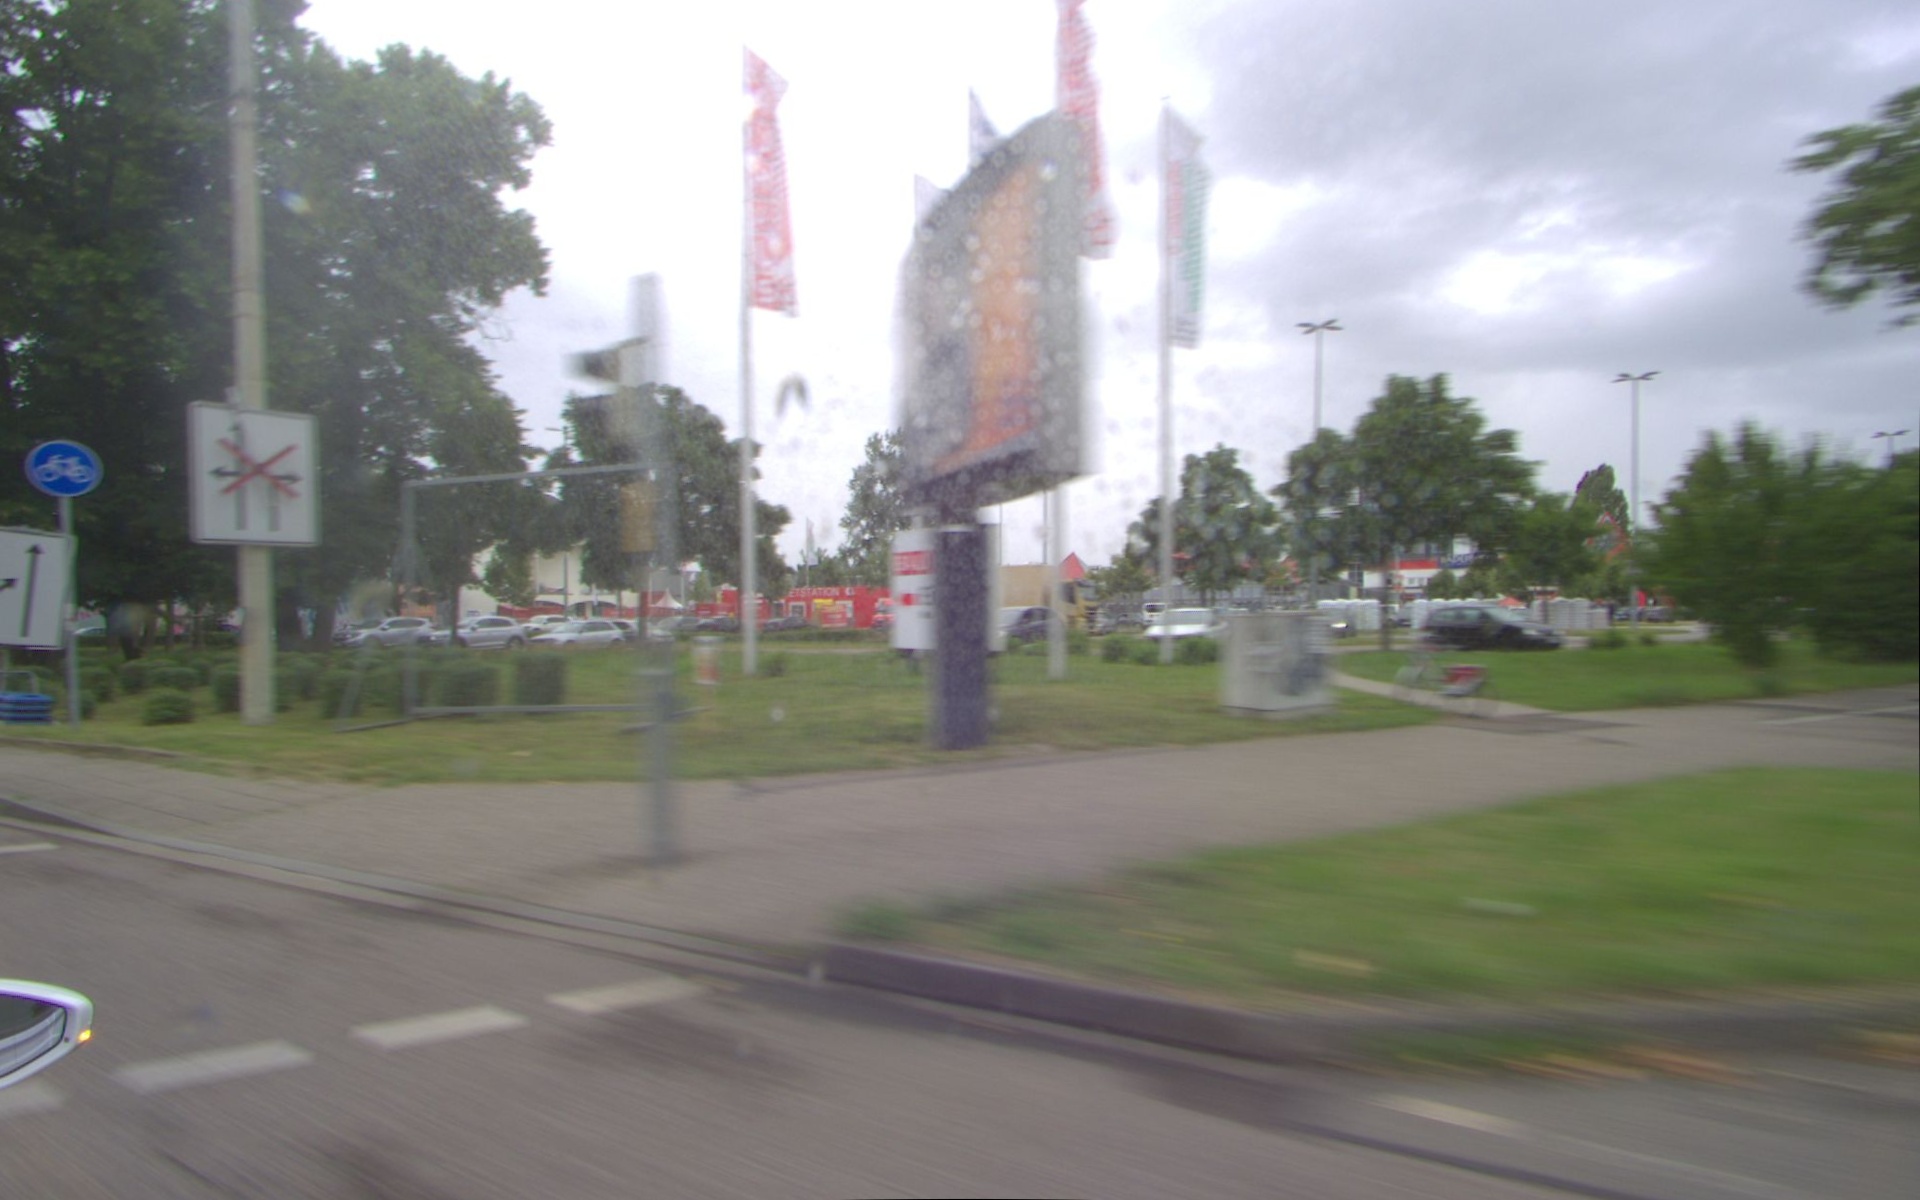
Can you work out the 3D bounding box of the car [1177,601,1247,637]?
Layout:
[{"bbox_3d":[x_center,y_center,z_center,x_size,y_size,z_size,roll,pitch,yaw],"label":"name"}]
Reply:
[{"bbox_3d":[11.394,0.821,45.098,1.957,1.526,4.548,-1,0,29],"label":"car"}]

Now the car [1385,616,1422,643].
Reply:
[{"bbox_3d":[29.785,1.947,67.339,2.119,1.699,4.555,-1,0,23],"label":"car"}]

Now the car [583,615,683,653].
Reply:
[{"bbox_3d":[-15.310,1.607,46.856,4.438,1.691,1.992,-2,-3,30],"label":"car"}]

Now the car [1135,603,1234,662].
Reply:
[{"bbox_3d":[6.397,0.952,28.184,1.900,1.516,4.224,-1,-3,24],"label":"car"}]

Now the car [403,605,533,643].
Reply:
[{"bbox_3d":[-20.907,1.086,42.775,2.136,1.516,4.676,-1,-3,26],"label":"car"}]

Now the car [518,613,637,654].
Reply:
[{"bbox_3d":[-15.214,1.365,40.055,1.899,1.516,4.448,-1,-3,23],"label":"car"}]

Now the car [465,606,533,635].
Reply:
[{"bbox_3d":[-42.870,1.895,93.293,2.041,2.570,5.738,-1,0,28],"label":"car"}]

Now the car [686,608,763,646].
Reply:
[{"bbox_3d":[-13.798,1.568,58.979,2.119,2.078,4.555,-1,0,23],"label":"car"}]

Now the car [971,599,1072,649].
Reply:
[{"bbox_3d":[2.109,0.851,32.980,1.899,1.516,4.603,-1,-3,23],"label":"car"}]

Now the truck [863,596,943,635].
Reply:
[{"bbox_3d":[-4.114,1.109,74.381,2.444,2.669,7.859,-1,0,25],"label":"truck"}]

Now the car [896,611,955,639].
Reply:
[{"bbox_3d":[-2.187,1.623,65.069,2.119,1.699,4.555,-1,0,23],"label":"car"}]

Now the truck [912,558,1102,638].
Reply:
[{"bbox_3d":[2.249,0.038,49.746,9.107,3.609,2.939,-2,-2,28],"label":"truck"}]

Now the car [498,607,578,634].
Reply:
[{"bbox_3d":[-27.231,1.308,64.752,2.119,1.699,4.555,-1,0,23],"label":"car"}]

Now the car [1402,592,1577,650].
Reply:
[{"bbox_3d":[15.092,0.662,28.796,1.798,1.516,4.220,1,-3,-26],"label":"car"}]

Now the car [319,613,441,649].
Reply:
[{"bbox_3d":[-26.082,1.439,45.197,1.927,1.516,4.535,-1,-3,23],"label":"car"}]

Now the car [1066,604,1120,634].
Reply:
[{"bbox_3d":[8.027,1.137,60.052,2.119,1.699,4.556,-1,0,22],"label":"car"}]

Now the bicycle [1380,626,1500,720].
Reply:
[{"bbox_3d":[6.340,0.922,13.330,0.479,1.132,1.806,-1,0,-10],"label":"bicycle"}]

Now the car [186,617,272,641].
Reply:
[{"bbox_3d":[-52.767,2.072,72.362,2.041,1.592,4.549,-1,0,28],"label":"car"}]
